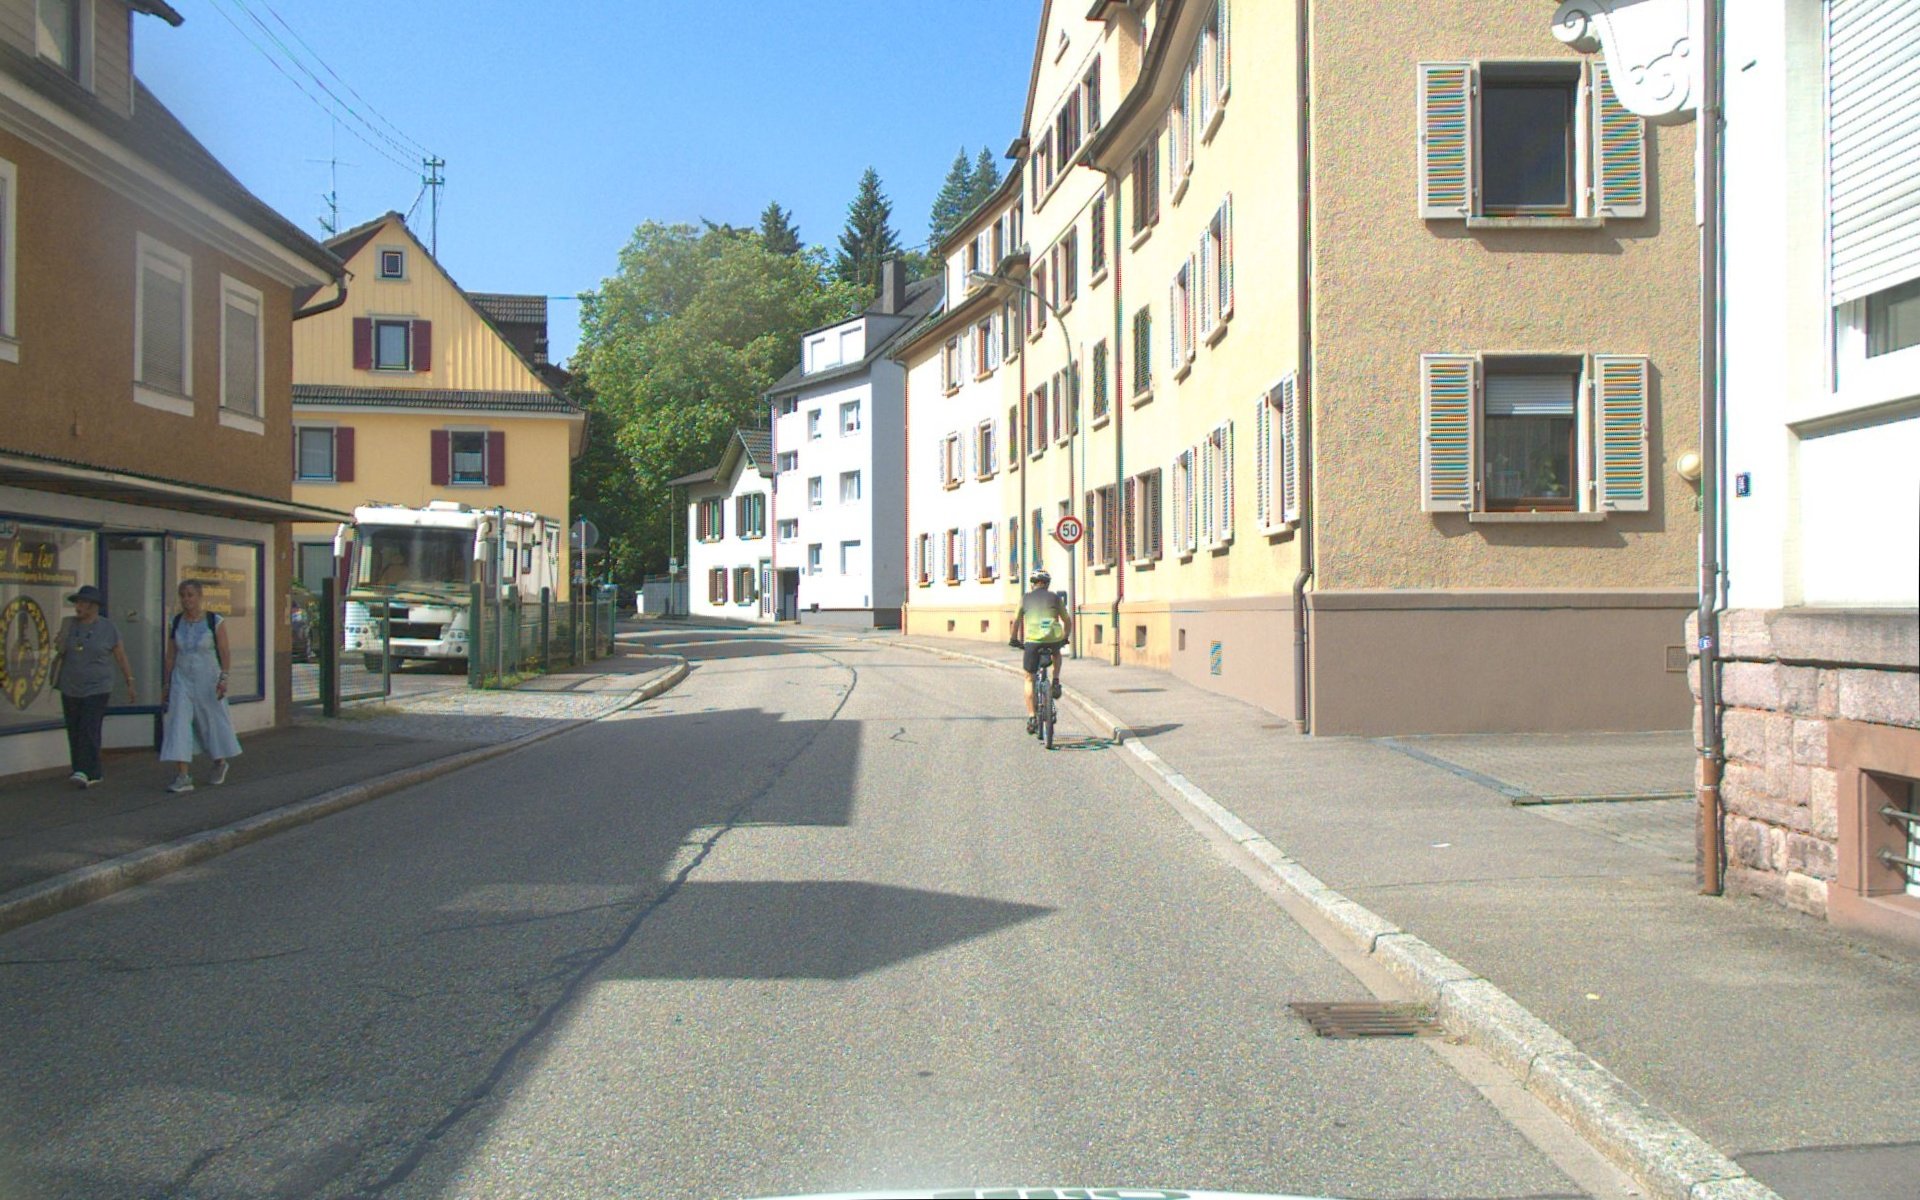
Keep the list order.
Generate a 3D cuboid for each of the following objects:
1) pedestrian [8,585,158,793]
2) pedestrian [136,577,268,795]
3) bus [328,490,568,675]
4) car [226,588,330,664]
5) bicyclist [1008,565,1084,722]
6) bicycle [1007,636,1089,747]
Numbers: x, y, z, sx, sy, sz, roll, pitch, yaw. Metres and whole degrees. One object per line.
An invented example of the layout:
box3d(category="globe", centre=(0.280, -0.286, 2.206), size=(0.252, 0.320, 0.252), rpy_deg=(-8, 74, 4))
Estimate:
box3d(category="pedestrian", centre=(-6.957, 0.685, 13.157), size=(0.720, 1.592, 0.824), rpy_deg=(1, 0, -1))
box3d(category="pedestrian", centre=(-6.029, 0.665, 13.193), size=(0.626, 1.654, 0.777), rpy_deg=(3, 0, -1))
box3d(category="bus", centre=(-10.326, -0.324, 34.451), size=(2.765, 3.284, 9.028), rpy_deg=(1, 0, -4))
box3d(category="car", centre=(-13.998, 0.510, 34.113), size=(1.739, 1.457, 3.977), rpy_deg=(1, 0, -20))
box3d(category="bicyclist", centre=(0.873, 0.437, 16.953), size=(0.672, 1.558, 0.715), rpy_deg=(-1, 0, -3))
box3d(category="bicycle", centre=(0.888, 0.917, 17.010), size=(0.684, 1.053, 1.470), rpy_deg=(0, 0, -3))
